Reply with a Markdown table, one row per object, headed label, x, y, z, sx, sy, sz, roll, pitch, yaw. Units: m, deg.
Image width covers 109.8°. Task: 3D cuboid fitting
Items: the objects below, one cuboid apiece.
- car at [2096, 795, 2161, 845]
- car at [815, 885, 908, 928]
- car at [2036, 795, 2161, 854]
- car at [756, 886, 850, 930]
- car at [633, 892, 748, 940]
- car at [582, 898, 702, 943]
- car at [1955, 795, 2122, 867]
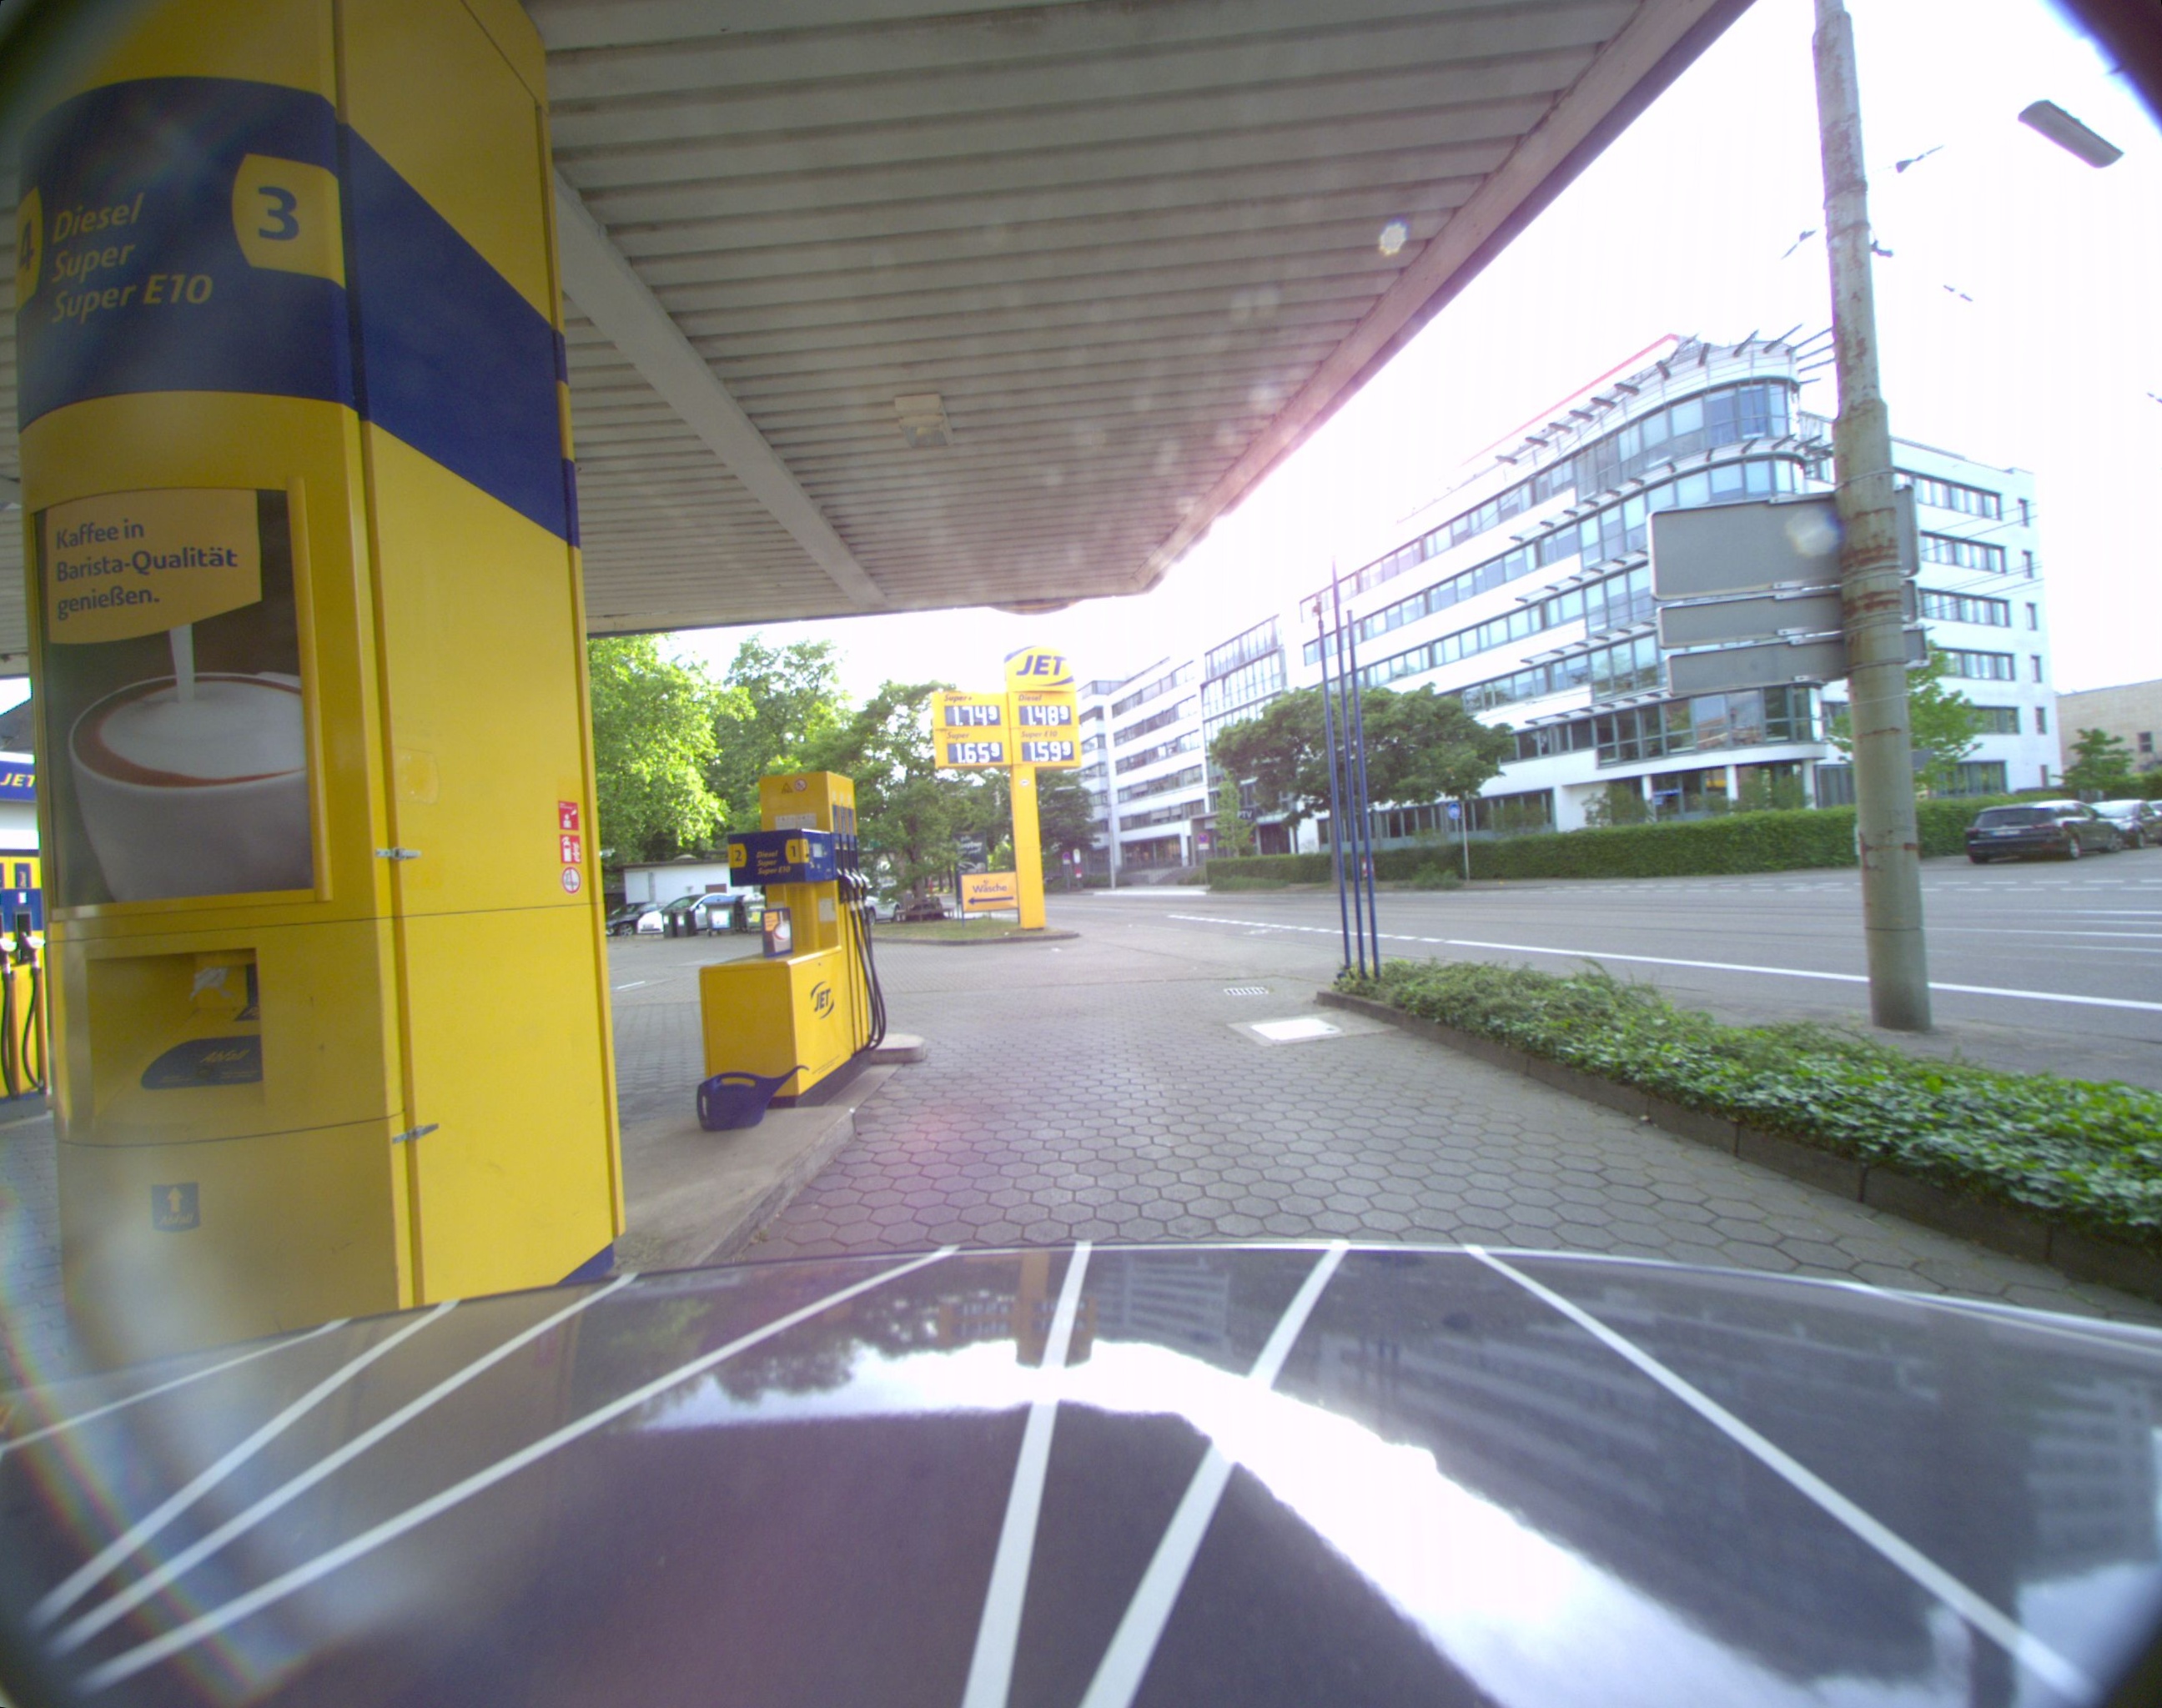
| label | x | y | z | sx | sy | sz | roll | pitch | yaw |
| --- | --- | --- | --- | --- | --- | --- | --- | --- | --- |
| car | 37.103 | -1.245 | 26.008 | 4.201 | 1.568 | 1.820 | -4 | -1 | -24 |
| car | -8.659 | 2.040 | 30.366 | 1.823 | 1.449 | 4.200 | -4 | -2 | 10 |
| car | 32.575 | -0.952 | 24.060 | 4.201 | 1.568 | 1.820 | -4 | -1 | -24 |
| car | -11.749 | 2.257 | 32.453 | 1.823 | 1.575 | 4.200 | -4 | -2 | 10 |
| car | -15.393 | 2.403 | 30.241 | 1.823 | 1.575 | 4.200 | -4 | -2 | 10 |
| car | -17.537 | 2.621 | 30.595 | 1.823 | 1.426 | 4.200 | -4 | -2 | 10 |
| car | 27.417 | -0.664 | 21.749 | 4.397 | 1.678 | 1.820 | -4 | -1 | -24 |
